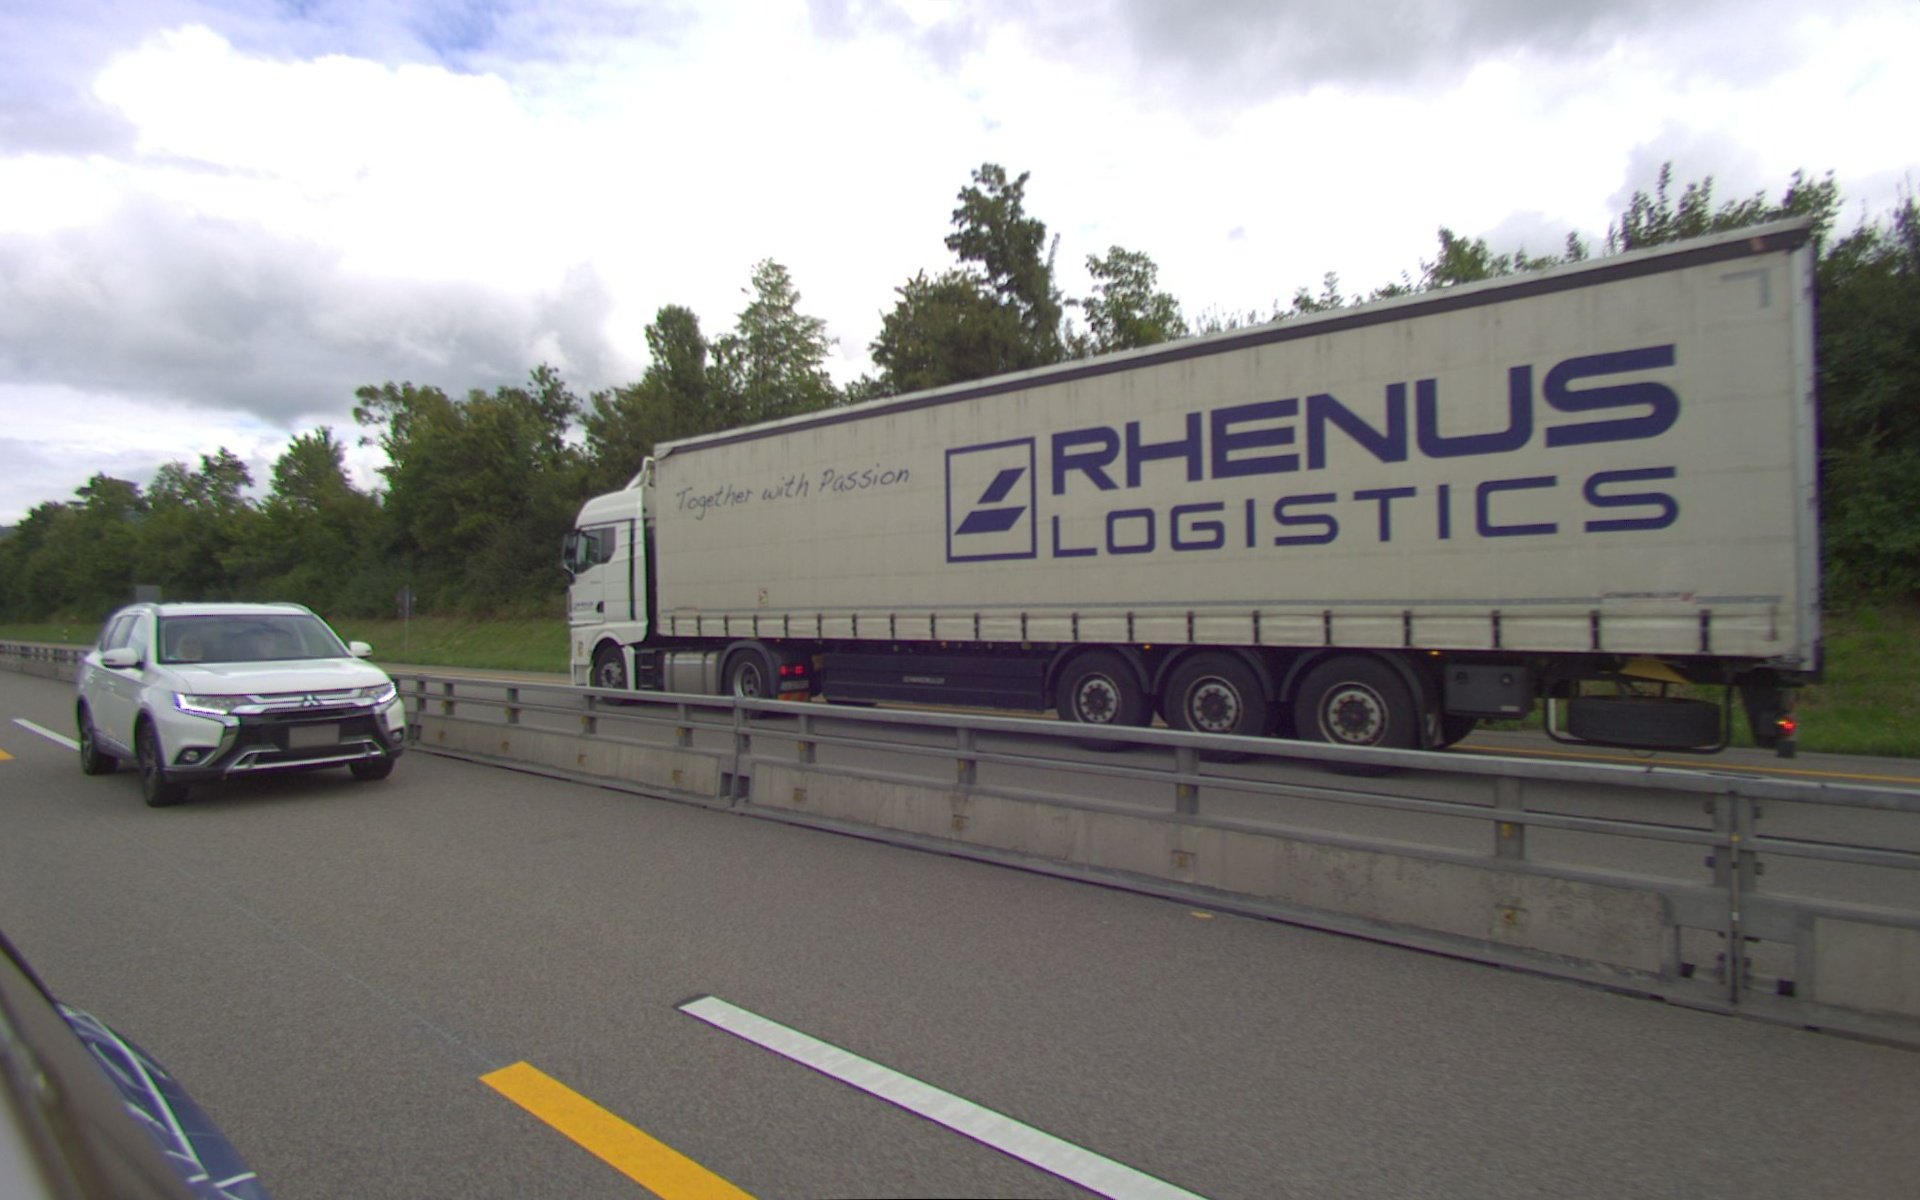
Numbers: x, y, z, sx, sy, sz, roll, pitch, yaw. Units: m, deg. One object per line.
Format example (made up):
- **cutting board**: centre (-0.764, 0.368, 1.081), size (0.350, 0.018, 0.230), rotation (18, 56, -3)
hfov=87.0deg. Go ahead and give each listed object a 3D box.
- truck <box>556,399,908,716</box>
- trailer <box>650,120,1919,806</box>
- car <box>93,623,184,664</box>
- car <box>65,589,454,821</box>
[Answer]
- **truck**: centre (-3.784, -0.509, 16.151), size (5.616, 4.186, 2.572), rotation (-2, -1, 40)
- **trailer**: centre (1.537, -0.672, 11.584), size (13.981, 4.186, 2.572), rotation (-2, -1, 41)
- **car**: centre (-32.275, 1.691, 39.726), size (4.898, 1.480, 1.987), rotation (-2, -1, 41)
- **car**: centre (-6.691, 0.792, 9.447), size (4.605, 1.640, 1.972), rotation (-2, -1, 42)
